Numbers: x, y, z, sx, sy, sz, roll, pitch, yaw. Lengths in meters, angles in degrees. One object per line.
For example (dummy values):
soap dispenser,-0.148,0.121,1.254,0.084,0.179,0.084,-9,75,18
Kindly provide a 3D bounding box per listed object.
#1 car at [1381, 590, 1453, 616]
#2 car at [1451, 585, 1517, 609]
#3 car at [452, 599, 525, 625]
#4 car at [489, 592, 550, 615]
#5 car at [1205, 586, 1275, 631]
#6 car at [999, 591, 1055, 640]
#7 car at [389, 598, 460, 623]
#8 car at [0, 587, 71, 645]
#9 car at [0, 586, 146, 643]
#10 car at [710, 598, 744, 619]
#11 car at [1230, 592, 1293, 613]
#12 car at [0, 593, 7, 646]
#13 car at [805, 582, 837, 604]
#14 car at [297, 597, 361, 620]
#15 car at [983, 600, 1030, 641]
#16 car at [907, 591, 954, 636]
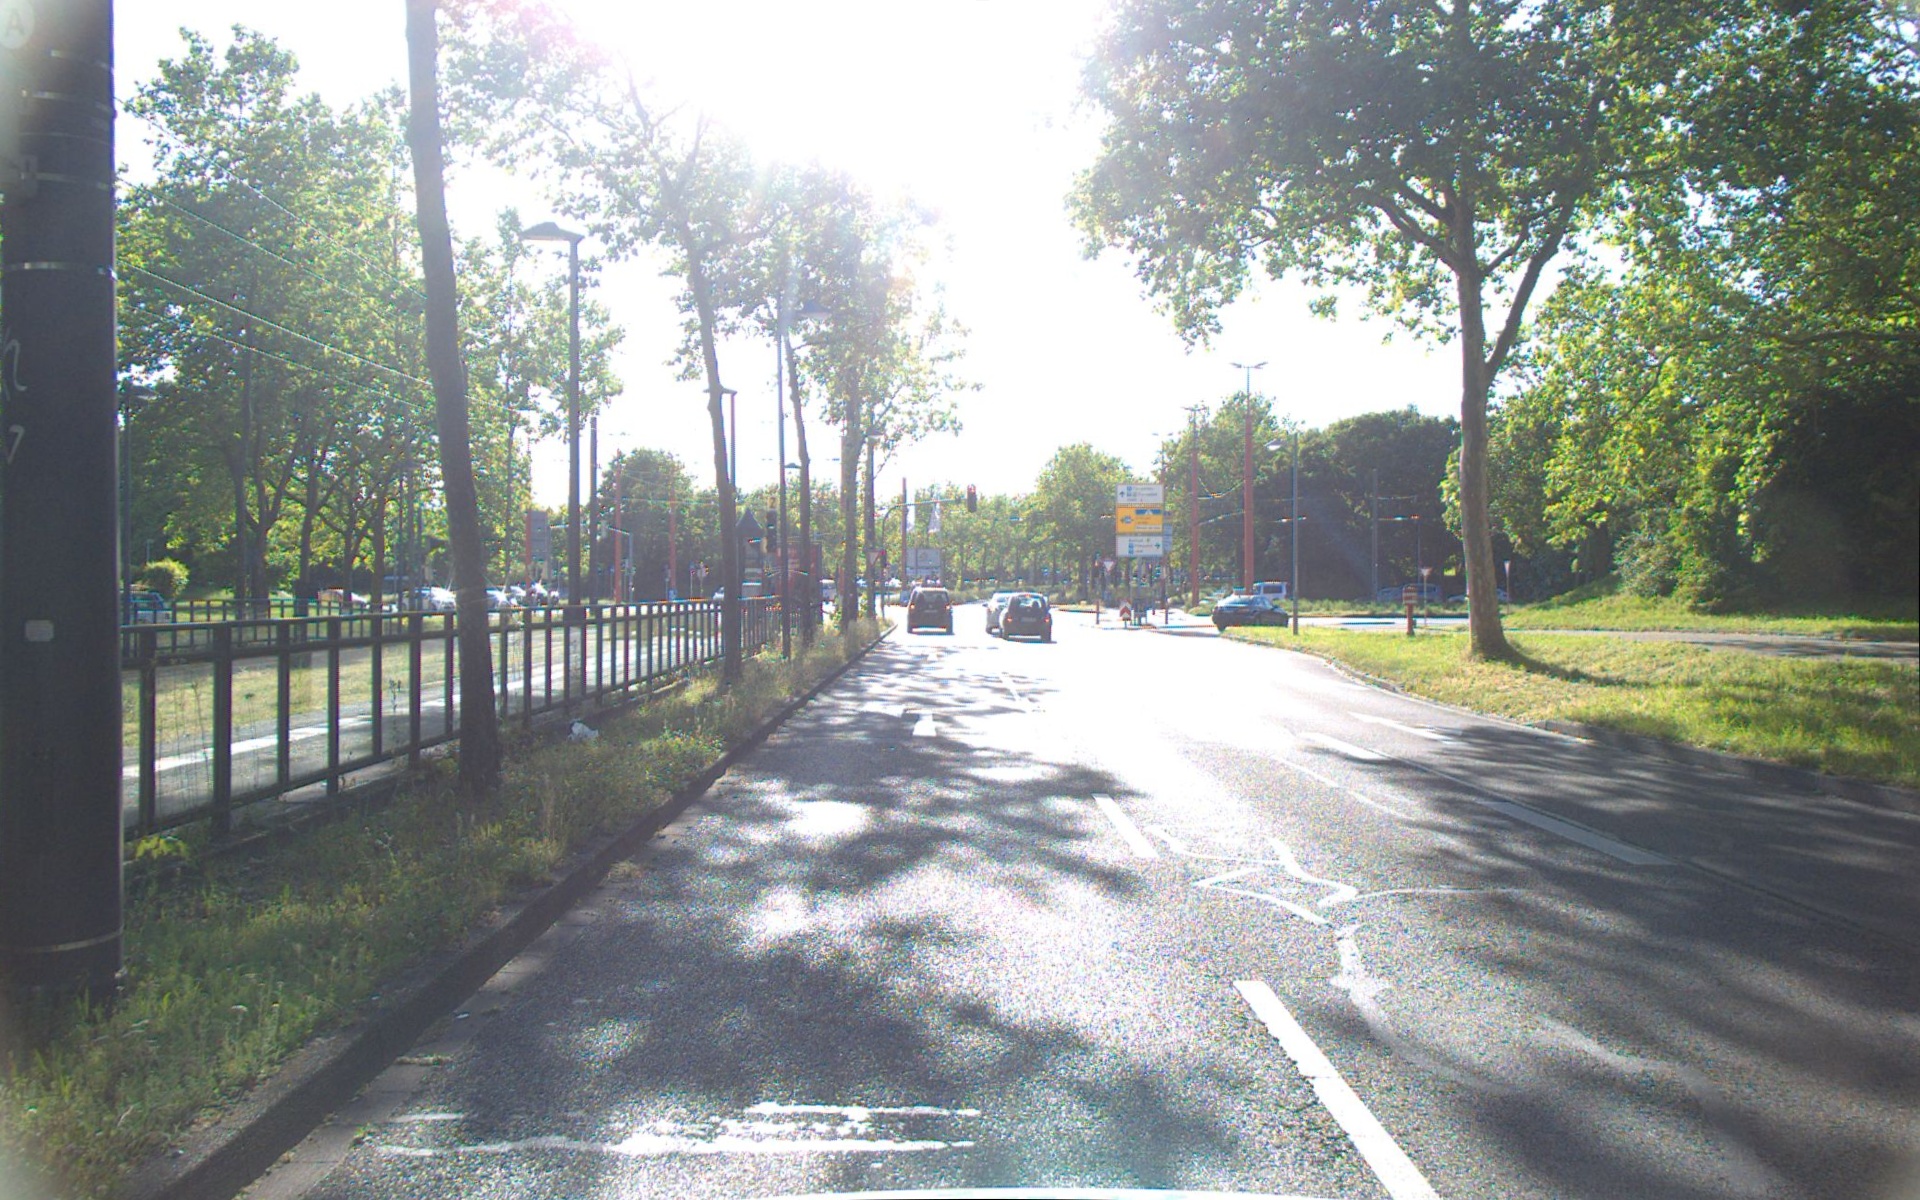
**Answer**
car,29.719,0.172,107.472,4.264,1.586,1.871,1,0,24
car,34.405,-0.186,108.548,3.908,1.521,1.860,1,0,25
car,-32.087,0.836,112.510,4.391,1.639,1.902,-1,2,18
car,-32.489,0.231,121.989,3.903,1.649,1.901,0,0,18
car,12.037,0.385,70.829,1.941,1.823,4.613,1,0,22
car,2.213,0.485,55.441,1.606,1.520,3.502,1,1,-2
car,-37.224,0.713,115.029,4.391,1.639,1.901,-1,0,18
car,-24.807,0.404,42.420,3.261,1.456,1.546,1,0,-44
car,-24.862,0.397,45.795,3.891,1.502,1.606,1,0,-44
car,-16.393,0.596,116.708,1.597,1.475,3.720,1,0,4
car,20.416,0.171,112.015,3.908,1.361,1.728,1,0,25
car,-24.701,0.437,39.304,3.354,1.275,1.443,1,0,-42
car,-12.166,-0.604,144.853,1.784,1.811,4.571,1,0,7
car,-44.640,0.588,116.995,3.949,1.461,1.817,-1,2,18
car,1.719,0.757,62.536,1.644,1.500,4.130,1,0,0
car,-1.124,0.502,61.950,1.676,1.631,3.348,0,0,-2
